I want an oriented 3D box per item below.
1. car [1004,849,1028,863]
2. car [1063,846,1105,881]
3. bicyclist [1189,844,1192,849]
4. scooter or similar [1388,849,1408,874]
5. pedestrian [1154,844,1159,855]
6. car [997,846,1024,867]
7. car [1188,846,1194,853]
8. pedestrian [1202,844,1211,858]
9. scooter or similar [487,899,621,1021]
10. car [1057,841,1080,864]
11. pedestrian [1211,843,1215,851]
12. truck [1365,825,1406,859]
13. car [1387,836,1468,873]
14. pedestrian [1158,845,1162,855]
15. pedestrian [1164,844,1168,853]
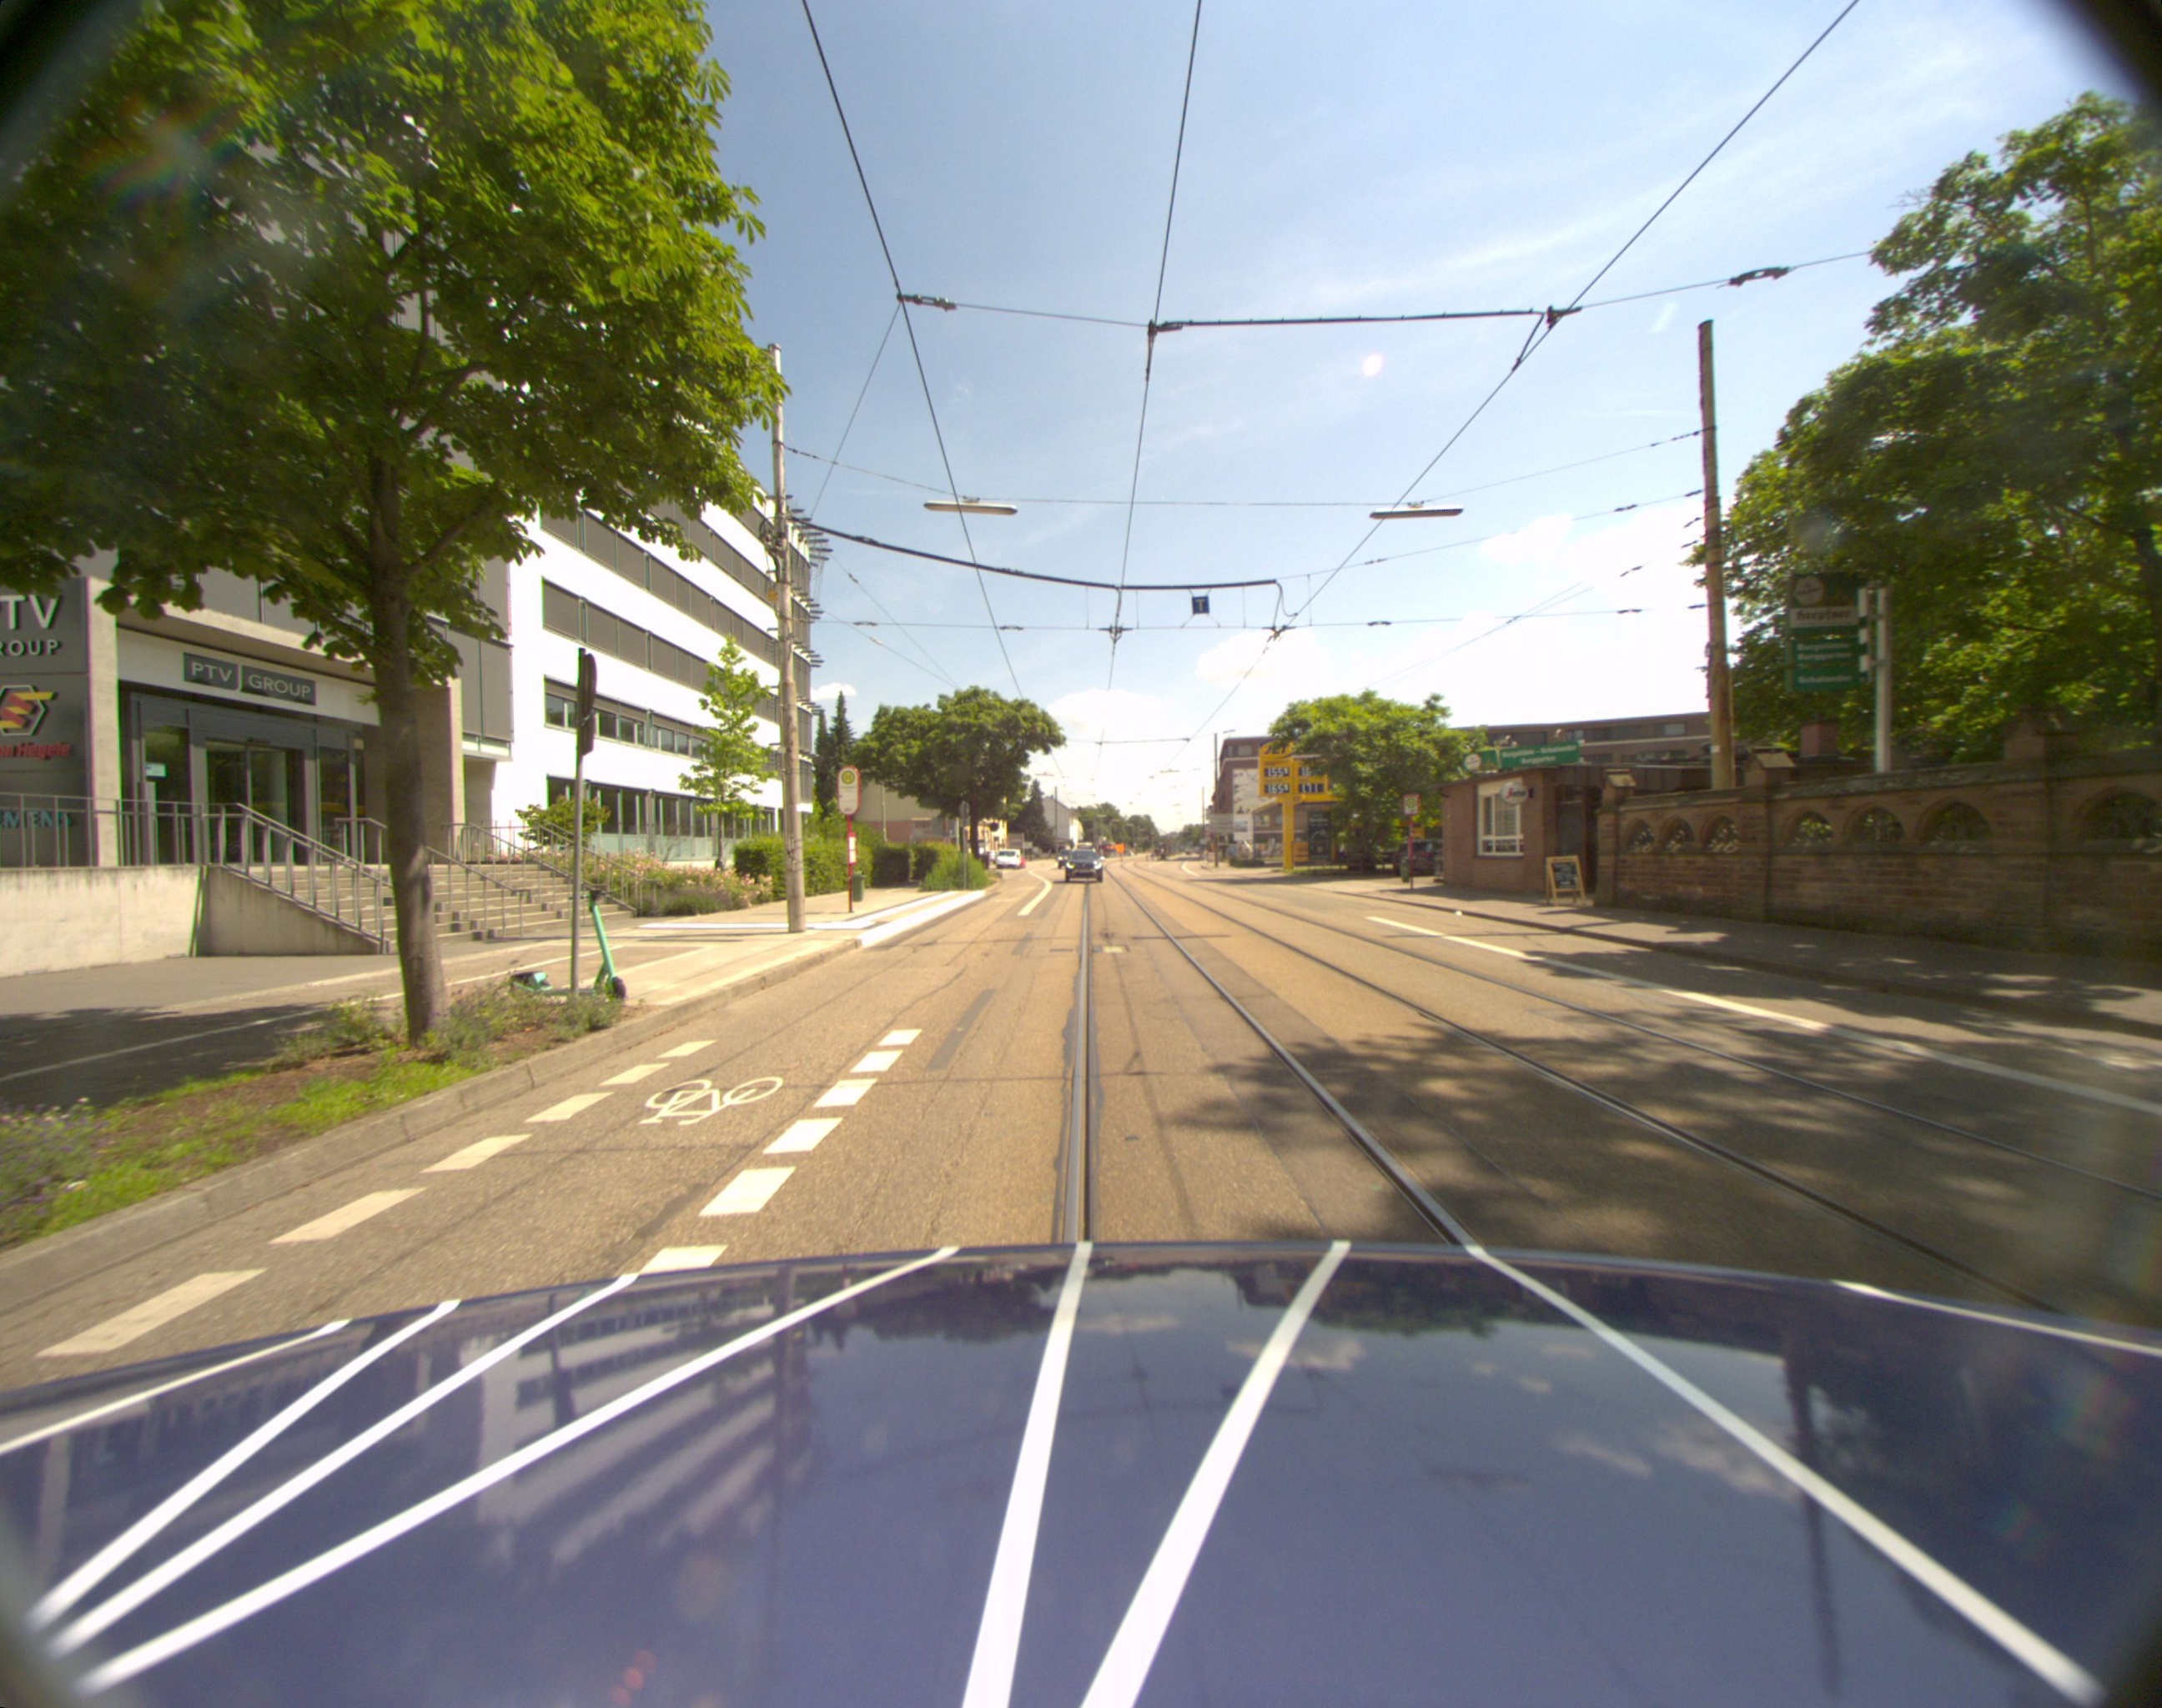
[{"bbox_3d":[-6.778,0.195,79.959,1.998,1.433,4.017,-2,0,2],"label":"car"},{"bbox_3d":[0.198,0.426,37.306,1.845,1.565,4.487,-1,1,3],"label":"car"},{"bbox_3d":[31.166,-2.116,215.931,0.760,1.495,1.065,-1,1,2],"label":"bicyclist"},{"bbox_3d":[15.289,0.340,36.681,0.405,1.167,1.363,0,1,44],"label":"scooter or similar"},{"bbox_3d":[12.197,-0.762,122.400,0.686,1.750,1.034,0,1,7],"label":"pedestrian"},{"bbox_3d":[-6.819,0.213,73.821,1.998,1.980,5.514,1,0,1],"label":"car"},{"bbox_3d":[34.681,-1.494,239.761,2.020,2.002,4.002,-3,1,8],"label":"car"},{"bbox_3d":[15.012,-0.382,90.832,0.762,1.587,1.000,-4,1,4],"label":"pedestrian"},{"bbox_3d":[-5.191,1.032,7.506,1.061,1.149,0.370,0,1,1],"label":"scooter or similar"},{"bbox_3d":[-1.134,-0.176,70.529,1.998,2.002,3.999,-1,1,1],"label":"car"},{"bbox_3d":[25.201,-1.280,145.068,0.686,1.587,0.761,0,1,7],"label":"pedestrian"},{"bbox_3d":[23.330,-0.937,58.084,1.994,2.484,5.213,-1,1,31],"label":"truck"},{"bbox_3d":[15.817,-0.003,34.585,4.342,1.581,1.994,-1,1,-45],"label":"car"},{"bbox_3d":[13.805,-0.700,132.675,0.686,1.587,0.761,0,1,7],"label":"pedestrian"},{"bbox_3d":[15.541,-0.990,138.361,0.761,1.685,0.809,0,1,7],"label":"pedestrian"}]
